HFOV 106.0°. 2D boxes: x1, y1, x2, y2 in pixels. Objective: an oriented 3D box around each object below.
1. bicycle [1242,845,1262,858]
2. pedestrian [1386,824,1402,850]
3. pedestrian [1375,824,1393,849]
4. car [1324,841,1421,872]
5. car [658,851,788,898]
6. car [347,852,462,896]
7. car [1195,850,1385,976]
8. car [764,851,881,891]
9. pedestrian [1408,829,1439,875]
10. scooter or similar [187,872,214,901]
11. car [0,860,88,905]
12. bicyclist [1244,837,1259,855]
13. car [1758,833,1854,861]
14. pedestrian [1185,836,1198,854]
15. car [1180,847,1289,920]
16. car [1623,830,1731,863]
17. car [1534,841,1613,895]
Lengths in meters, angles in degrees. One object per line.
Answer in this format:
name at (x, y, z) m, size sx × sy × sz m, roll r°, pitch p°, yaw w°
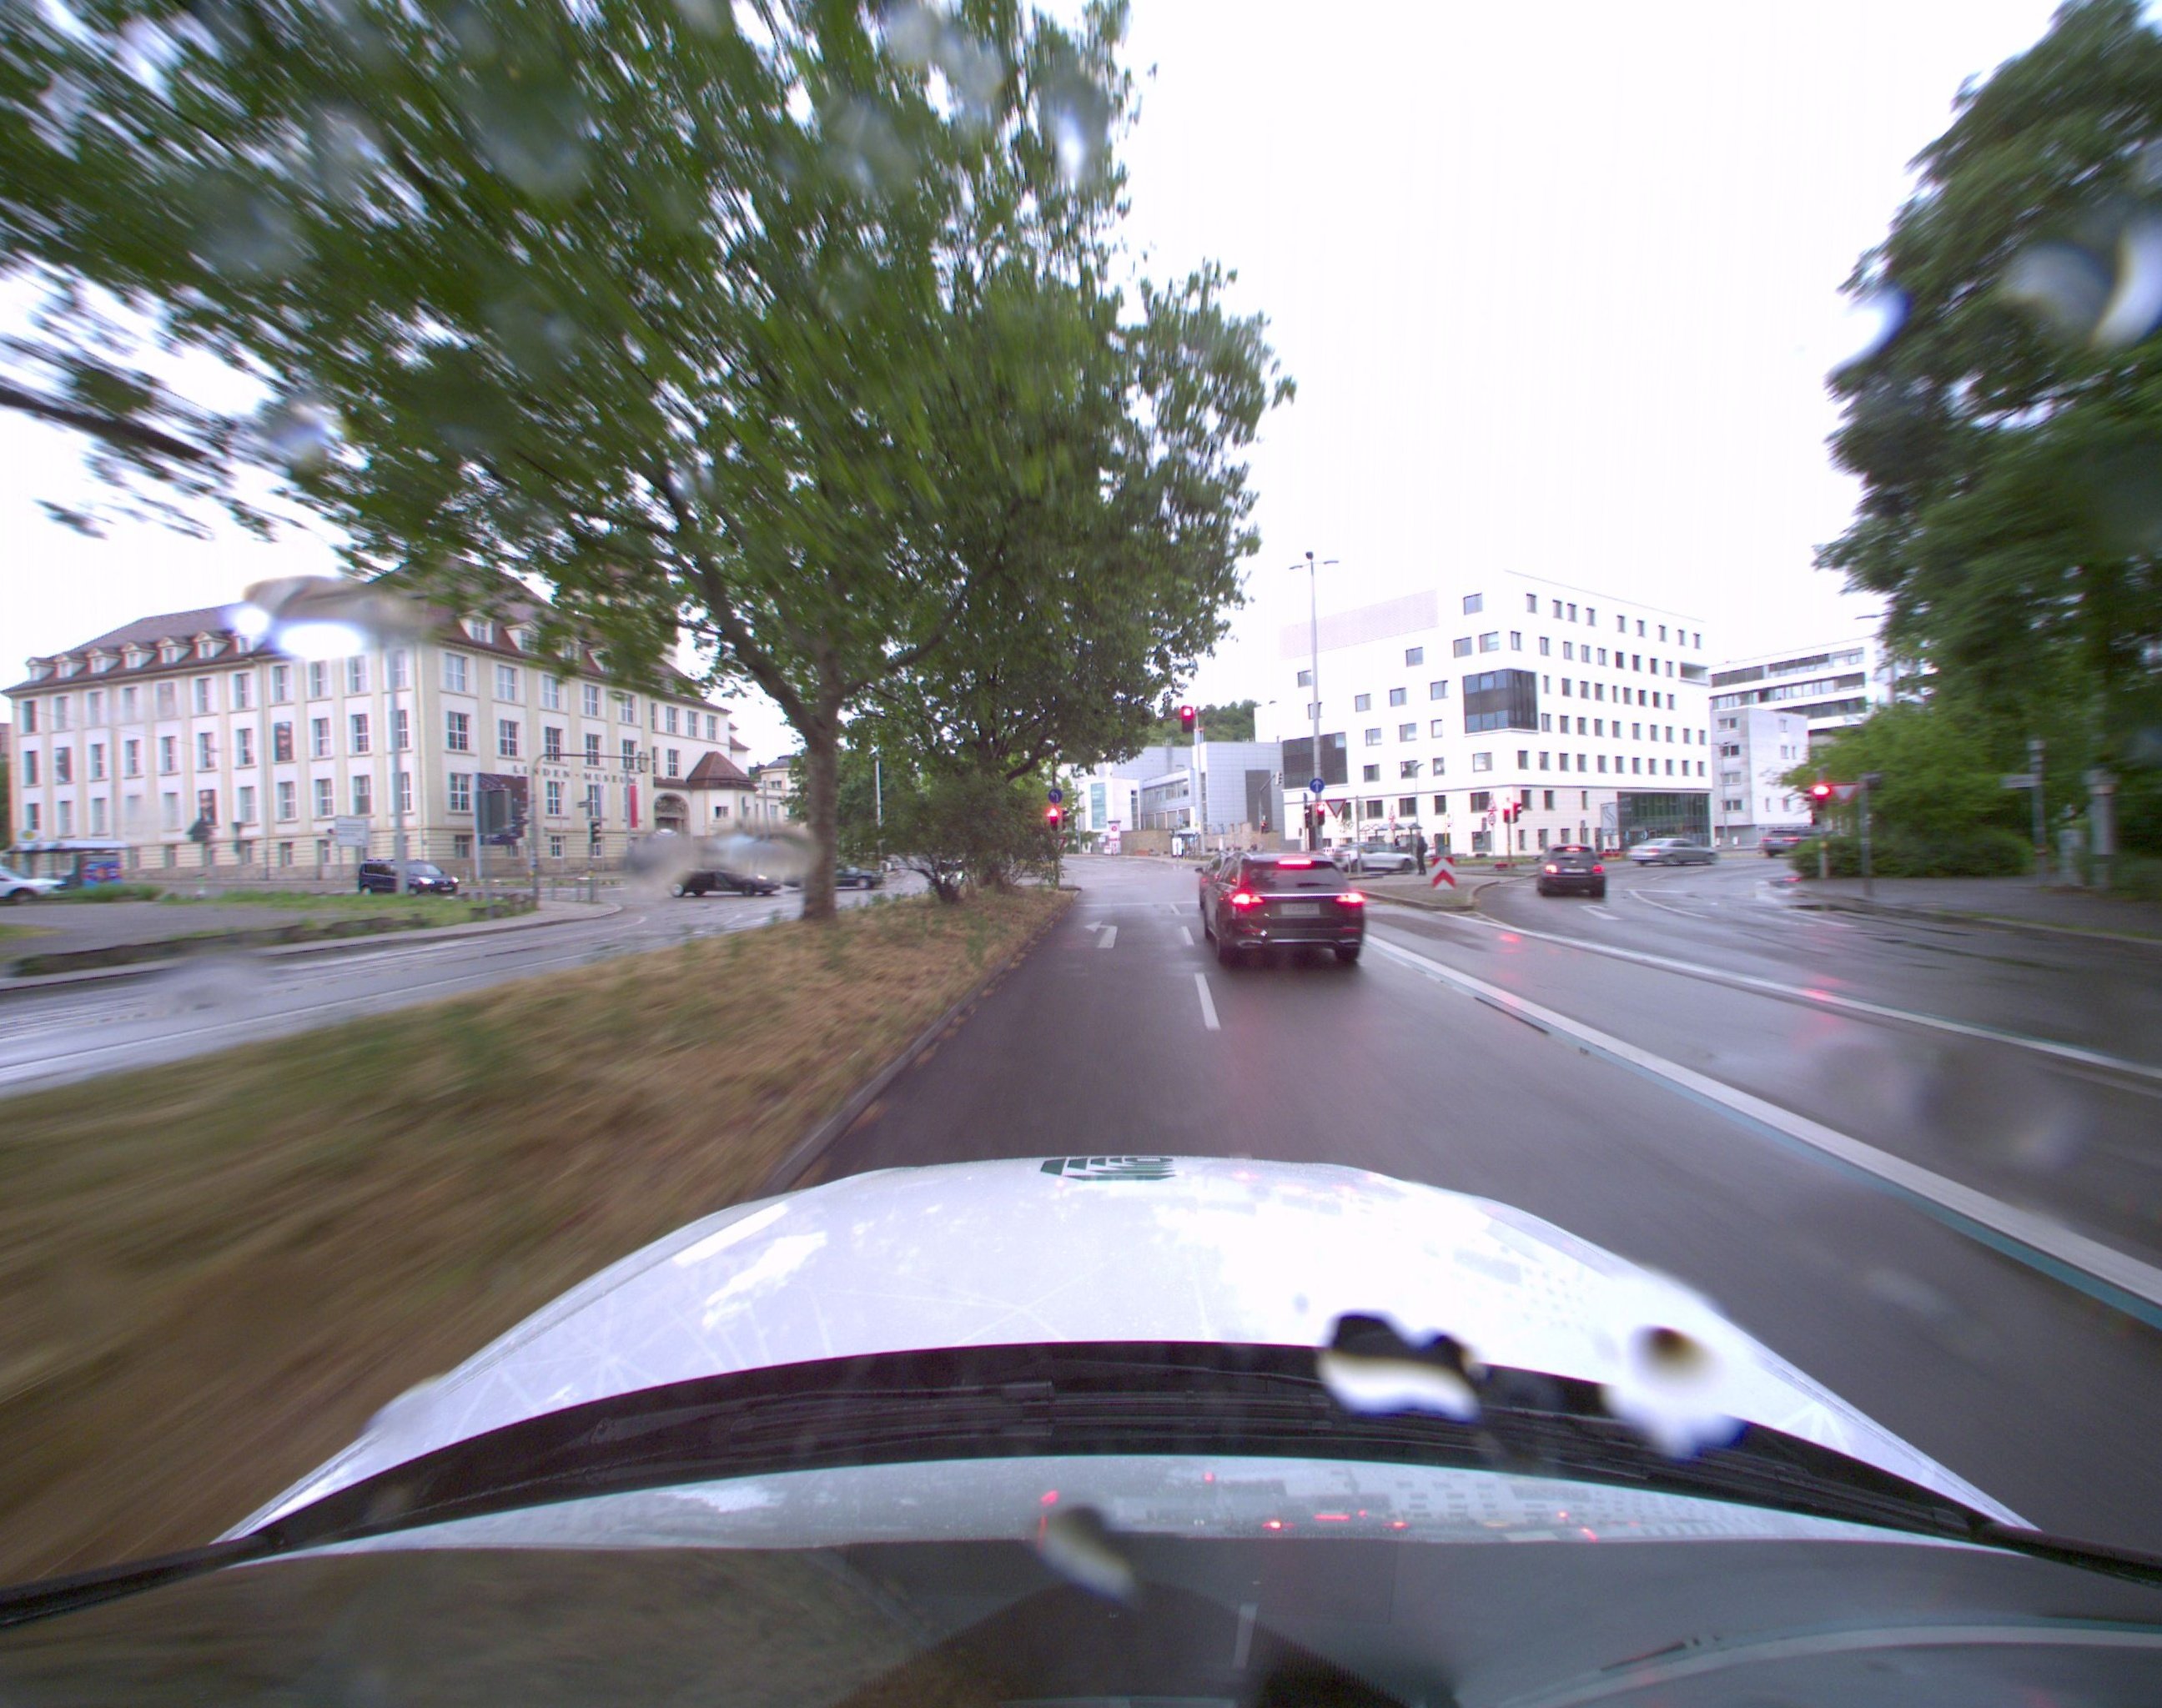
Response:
bicycle at (15.315, -0.230, 72.862) m, size 1.829 × 1.056 × 0.641 m, roll -1°, pitch 0°, yaw -35°
pedestrian at (24.029, -1.305, 62.476) m, size 0.995 × 1.935 × 0.957 m, roll -1°, pitch -1°, yaw 13°
pedestrian at (22.463, -1.266, 60.334) m, size 0.950 × 1.840 × 0.821 m, roll 0°, pitch -1°, yaw -8°
car at (13.881, 0.106, 38.864) m, size 3.986 × 1.421 × 1.862 m, roll 0°, pitch -1°, yaw -10°
car at (-15.660, 0.887, 35.808) m, size 4.749 × 1.809 × 2.003 m, roll -2°, pitch 1°, yaw 5°
car at (-31.674, 0.928, 38.172) m, size 4.266 × 1.908 × 1.804 m, roll -1°, pitch 1°, yaw 12°
car at (2.812, 0.686, 12.115) m, size 1.871 × 1.445 × 4.936 m, roll 0°, pitch 1°, yaw 4°
car at (-12.459, 0.818, 39.522) m, size 4.937 × 1.673 × 2.000 m, roll -2°, pitch 0°, yaw 1°
pedestrian at (14.588, -0.078, 34.673) m, size 0.826 × 1.892 × 1.026 m, roll 0°, pitch -1°, yaw -5°
scooter or similar at (-37.221, 1.352, 34.436) m, size 0.555 × 1.167 × 1.239 m, roll 0°, pitch -1°, yaw -37°
car at (-44.815, 1.221, 33.564) m, size 4.524 × 1.768 × 1.815 m, roll -2°, pitch 0°, yaw -33°
bicyclist at (15.267, -0.733, 72.844) m, size 1.133 × 1.632 × 0.695 m, roll 0°, pitch -1°, yaw -34°
car at (43.404, -0.419, 48.752) m, size 4.765 × 1.651 × 1.860 m, roll 0°, pitch -1°, yaw -13°
pedestrian at (10.925, -0.895, 80.571) m, size 1.252 × 1.719 × 1.017 m, roll 0°, pitch -1°, yaw 2°
car at (3.594, 0.620, 19.843) m, size 1.665 × 1.466 × 4.510 m, roll -2°, pitch 1°, yaw -2°
car at (30.939, -0.379, 42.334) m, size 4.765 × 1.651 × 1.860 m, roll 0°, pitch -1°, yaw -13°
car at (14.481, 0.405, 24.058) m, size 1.844 × 1.450 × 4.025 m, roll -1°, pitch -1°, yaw 30°
